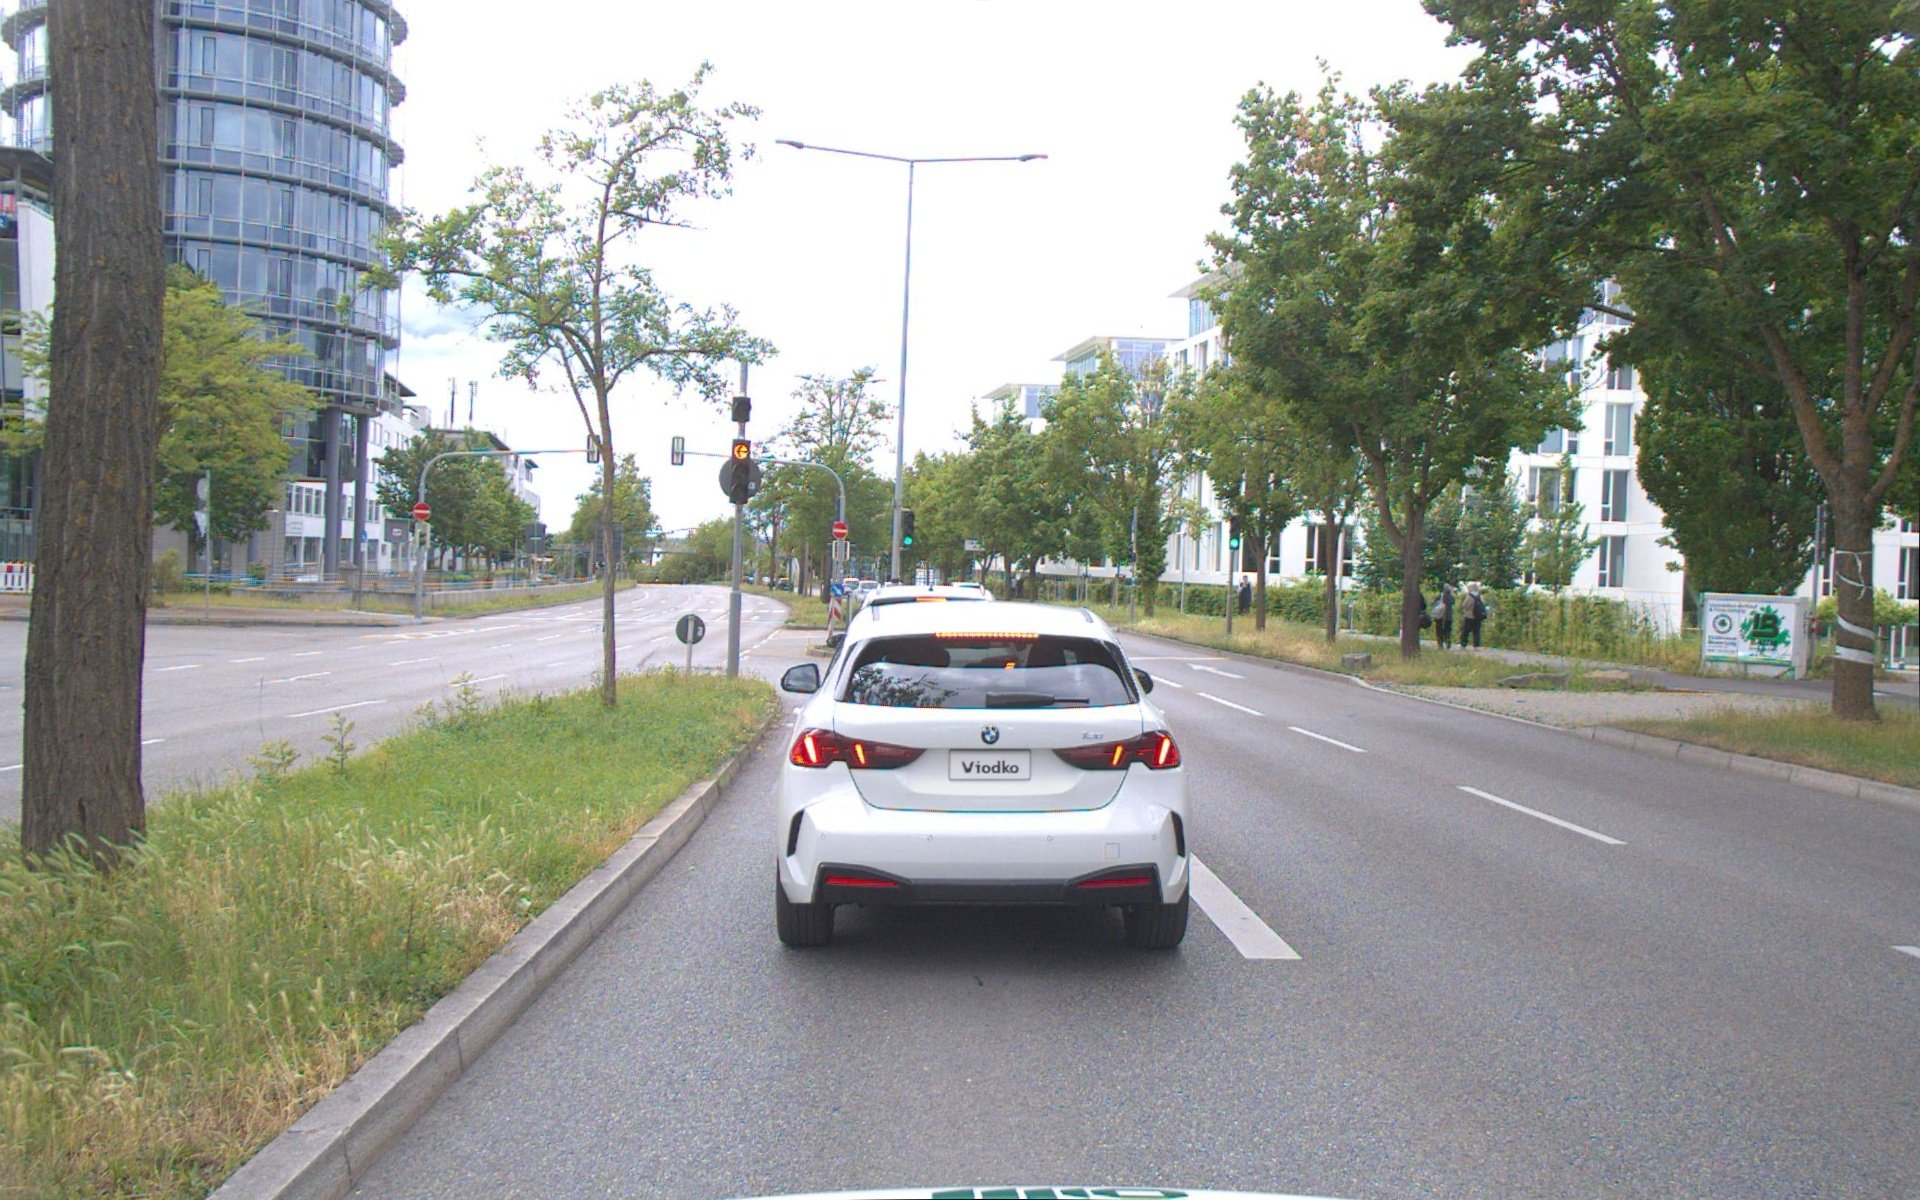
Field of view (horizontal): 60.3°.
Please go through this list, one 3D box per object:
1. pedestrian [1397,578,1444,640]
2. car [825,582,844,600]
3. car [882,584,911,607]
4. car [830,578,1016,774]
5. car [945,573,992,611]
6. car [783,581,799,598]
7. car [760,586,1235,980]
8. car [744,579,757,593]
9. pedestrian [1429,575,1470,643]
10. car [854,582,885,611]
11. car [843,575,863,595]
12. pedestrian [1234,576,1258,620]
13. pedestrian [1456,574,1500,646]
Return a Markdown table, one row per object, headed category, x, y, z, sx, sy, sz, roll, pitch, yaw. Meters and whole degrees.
| category | x | y | z | sx | sy | sz | roll | pitch | yaw |
| --- | --- | --- | --- | --- | --- | --- | --- | --- | --- |
| pedestrian | 11.214 | 0.217 | 40.294 | 0.773 | 1.473 | 1.111 | 1 | 0 | -2 |
| car | -12.144 | -0.882 | 160.031 | 1.705 | 1.695 | 3.997 | 1 | 0 | -4 |
| car | -4.371 | -0.327 | 114.008 | 1.660 | 1.512 | 3.688 | 1 | 0 | -7 |
| car | -0.335 | 0.626 | 15.839 | 1.518 | 1.596 | 3.999 | 1 | 0 | -1 |
| car | 0.348 | -0.363 | 76.493 | 1.954 | 1.699 | 3.998 | 0 | 0 | -3 |
| car | -18.121 | -1.108 | 177.044 | 1.570 | 1.695 | 3.997 | 1 | 0 | -4 |
| car | 0.117 | 0.692 | 8.327 | 1.785 | 1.463 | 3.999 | 1 | 0 | -1 |
| car | -32.278 | -2.192 | 255.065 | 1.803 | 2.049 | 3.994 | 1 | 0 | -7 |
| pedestrian | 11.883 | 0.228 | 40.181 | 0.685 | 1.623 | 0.883 | 1 | -1 | -2 |
| car | -5.768 | -0.256 | 104.532 | 1.663 | 1.747 | 3.994 | 1 | 0 | -7 |
| car | -9.018 | -1.261 | 139.410 | 1.570 | 1.695 | 3.997 | 1 | 0 | -4 |
| pedestrian | 10.479 | -0.070 | 60.637 | 0.726 | 1.601 | 0.674 | 1 | -1 | -2 |
| pedestrian | 12.619 | 0.242 | 40.300 | 0.751 | 1.715 | 0.883 | 1 | -1 | -2 |
